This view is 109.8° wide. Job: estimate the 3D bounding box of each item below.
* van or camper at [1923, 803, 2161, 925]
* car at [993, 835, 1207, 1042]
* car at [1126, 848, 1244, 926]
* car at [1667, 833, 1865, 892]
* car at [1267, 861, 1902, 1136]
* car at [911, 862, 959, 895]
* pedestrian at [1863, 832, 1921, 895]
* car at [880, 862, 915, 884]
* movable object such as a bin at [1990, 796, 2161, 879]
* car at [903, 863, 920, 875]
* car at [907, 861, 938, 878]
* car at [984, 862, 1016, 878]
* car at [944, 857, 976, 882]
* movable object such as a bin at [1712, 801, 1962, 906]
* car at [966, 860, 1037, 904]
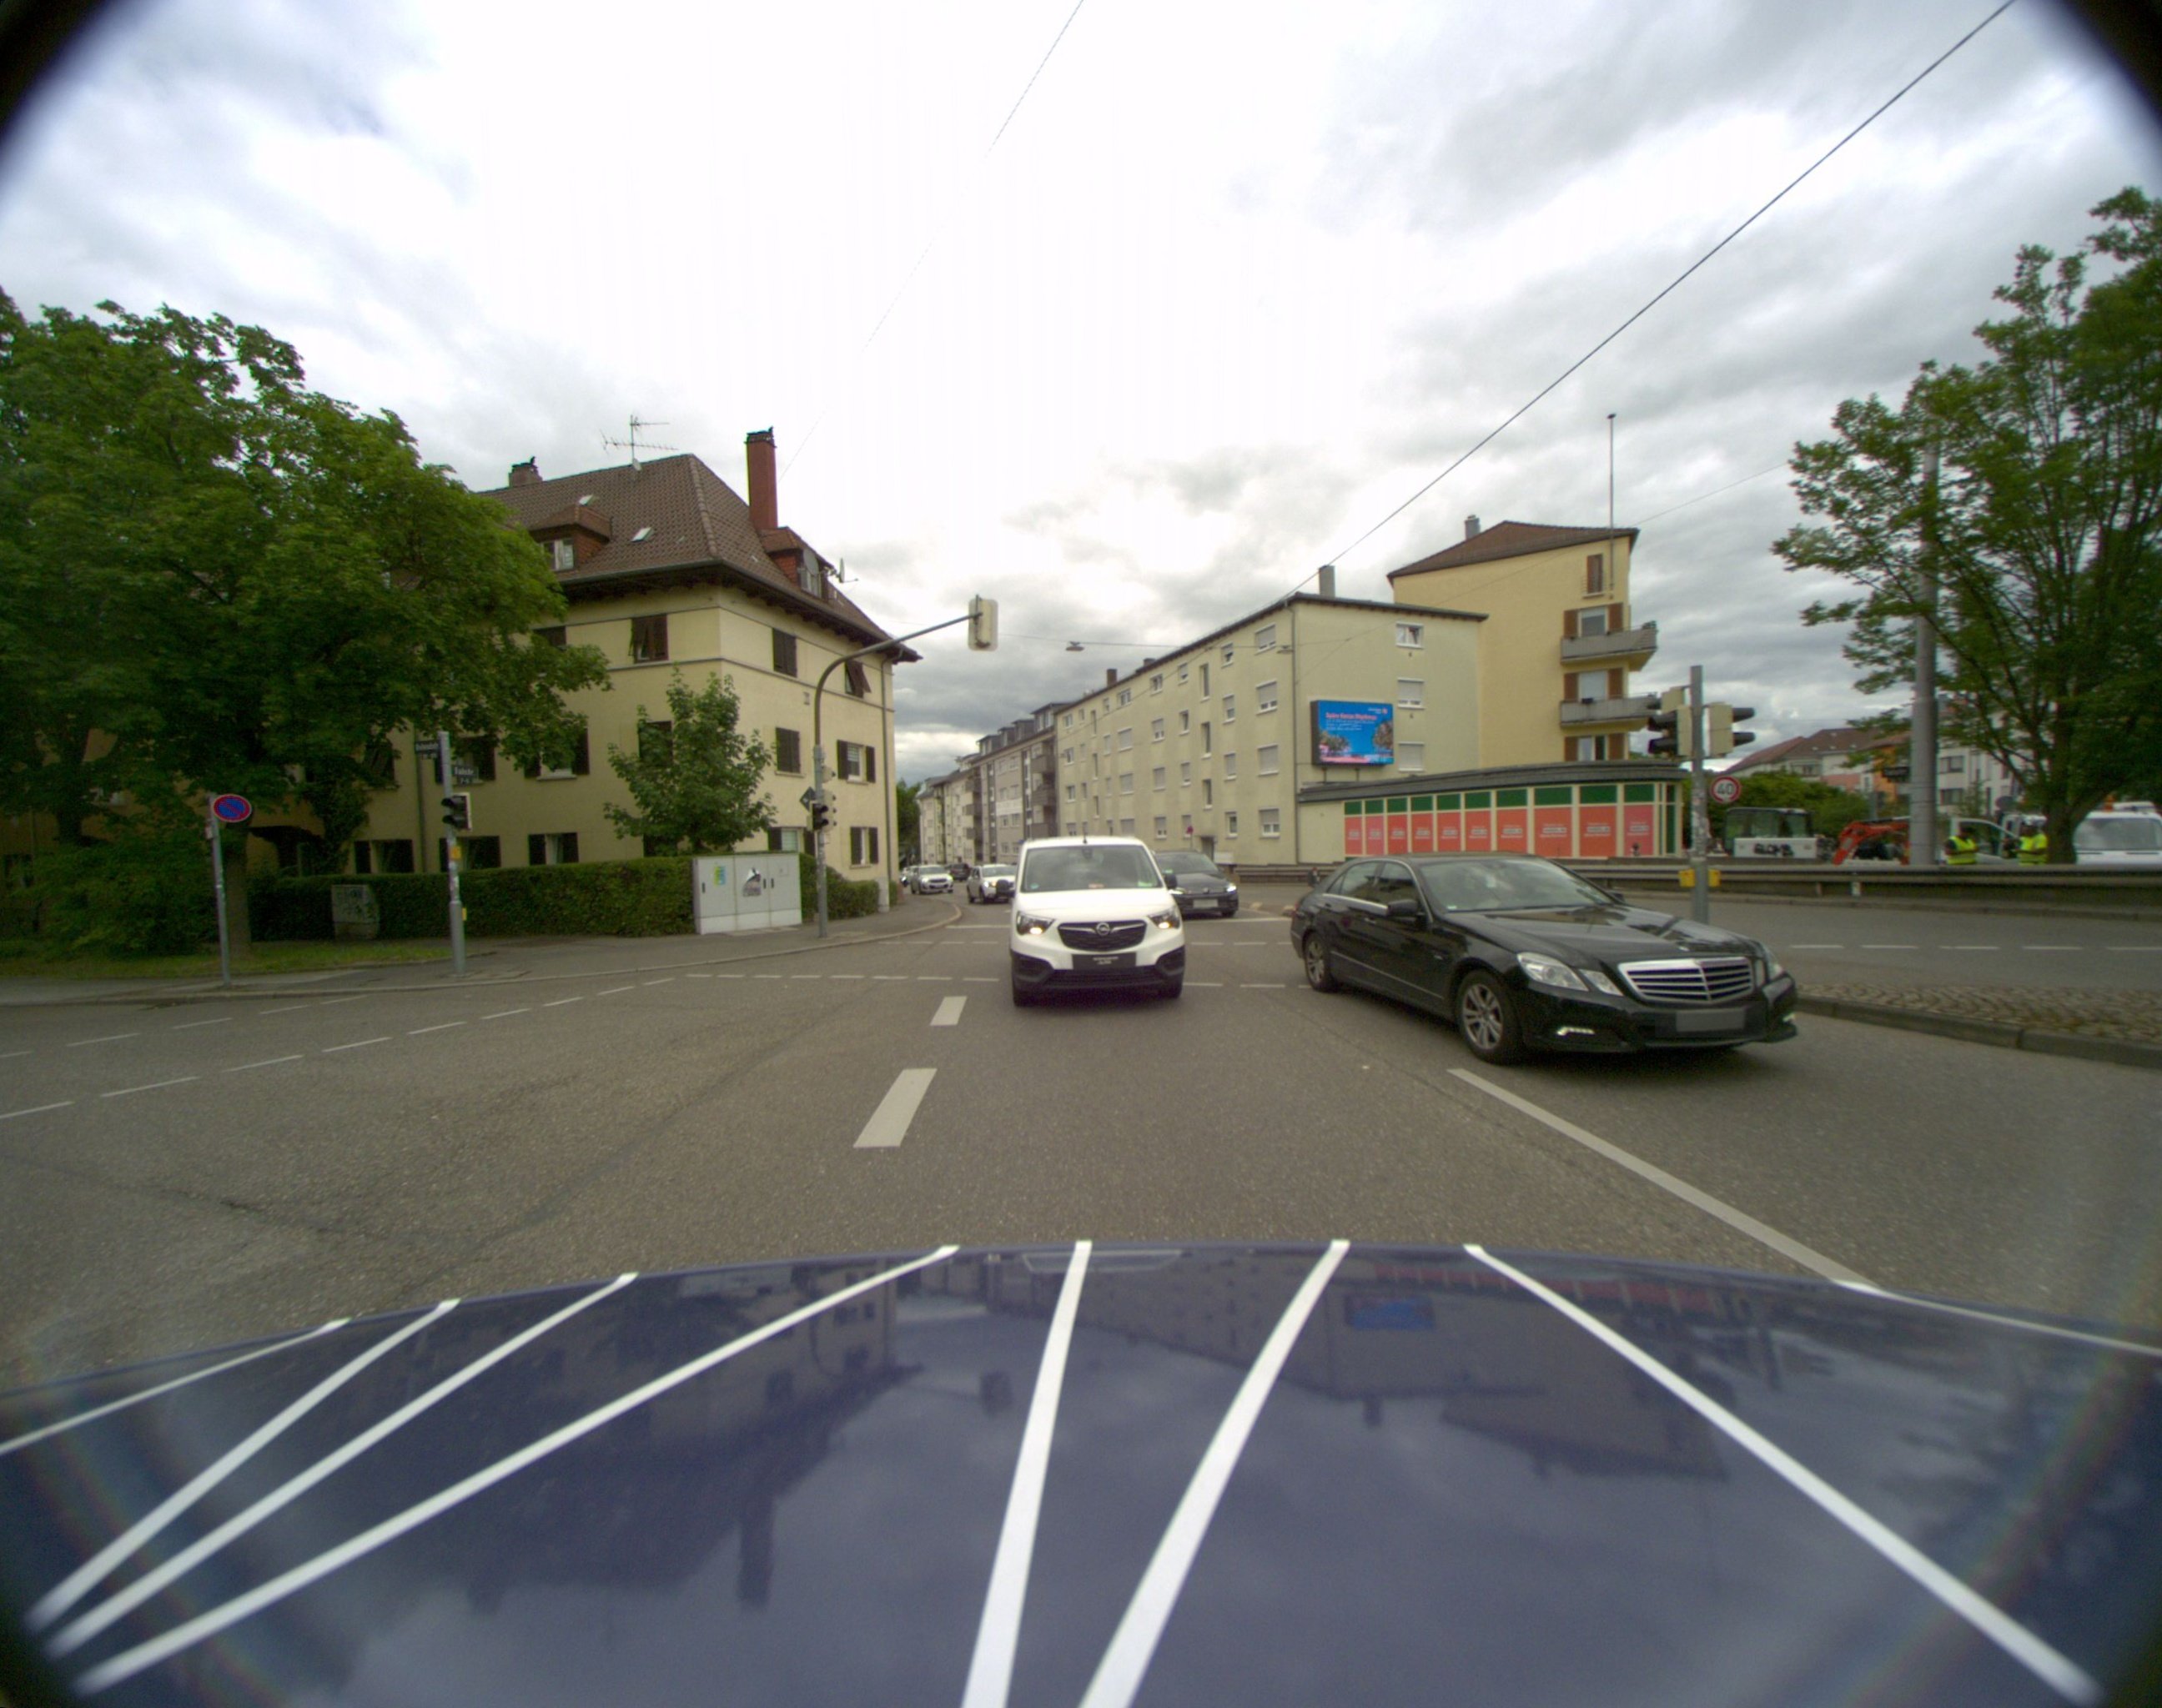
[{"bbox_3d":[22.002,0.130,17.290,2.681,2.325,6.017,-2,1,37],"label":"van or camper"},{"bbox_3d":[0.016,0.739,9.293,1.863,1.772,4.709,-3,1,-4],"label":"car"},{"bbox_3d":[2.410,0.695,18.841,1.863,1.601,4.477,-3,1,-5],"label":"car"},{"bbox_3d":[19.770,0.248,22.199,3.989,1.543,2.004,-2,0,32],"label":"car"},{"bbox_3d":[3.491,0.821,6.703,2.000,1.420,4.839,-2,0,-7],"label":"car"},{"bbox_3d":[-8.341,1.335,43.204,1.902,1.635,3.993,-5,1,-21],"label":"car"},{"bbox_3d":[18.011,0.214,16.884,0.600,1.355,0.626,-2,1,13],"label":"pedestrian"},{"bbox_3d":[-13.998,1.409,57.883,1.902,1.572,3.992,-2,1,-22],"label":"car"},{"bbox_3d":[29.073,-0.519,20.845,6.253,2.059,2.394,-2,1,-9],"label":"movable object such as a bin"},{"bbox_3d":[-20.881,1.828,93.453,1.604,1.438,3.524,-1,0,-21],"label":"car"},{"bbox_3d":[-14.077,1.335,67.217,1.885,1.347,4.138,-4,1,-22],"label":"car"},{"bbox_3d":[-7.302,1.422,67.846,1.778,1.402,3.680,-1,0,-24],"label":"car"},{"bbox_3d":[-10.745,1.346,67.189,2.002,2.002,3.993,-2,0,-20],"label":"car"},{"bbox_3d":[16.052,0.001,16.324,1.381,2.002,3.528,-2,0,-30],"label":"movable object such as a bin"},{"bbox_3d":[-3.206,1.065,29.914,1.902,1.501,4.161,-3,0,-18],"label":"car"}]
